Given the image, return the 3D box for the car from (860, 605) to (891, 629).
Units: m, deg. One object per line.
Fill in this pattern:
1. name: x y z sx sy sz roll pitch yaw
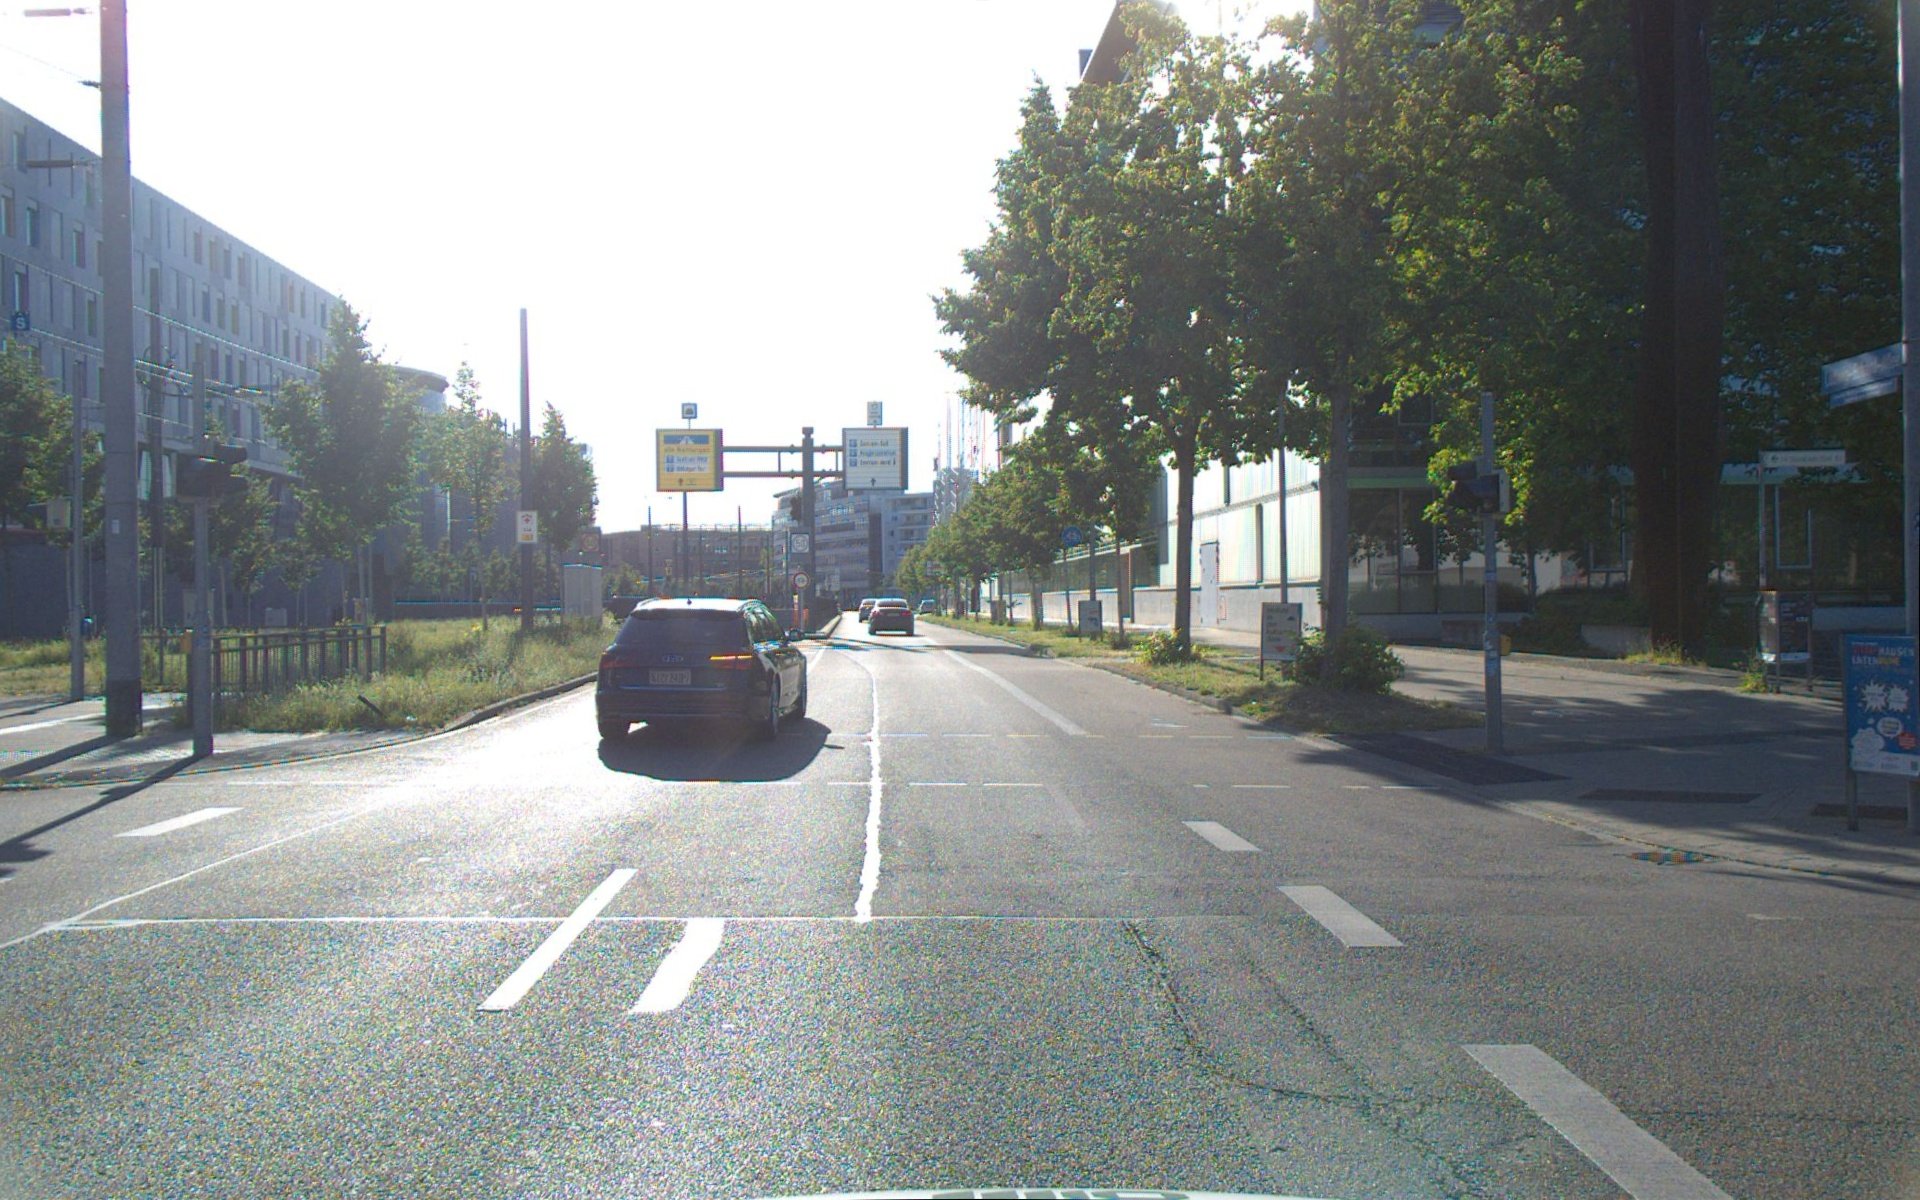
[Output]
1. car: -5.398 1.066 105.434 1.954 1.491 3.998 0 1 -3

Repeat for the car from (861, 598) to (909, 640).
1. car: -2.989 0.738 65.572 1.816 1.573 3.997 1 0 -3

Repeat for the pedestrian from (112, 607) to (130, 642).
1. pedestrian: -49.433 1.453 97.454 0.721 2.049 0.689 -1 0 -3

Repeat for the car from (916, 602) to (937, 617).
1. car: -3.399 0.961 169.270 1.816 1.507 4.849 -3 0 -4

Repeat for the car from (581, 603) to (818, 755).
1. car: -2.738 0.785 18.449 1.775 1.452 4.690 -1 0 1
